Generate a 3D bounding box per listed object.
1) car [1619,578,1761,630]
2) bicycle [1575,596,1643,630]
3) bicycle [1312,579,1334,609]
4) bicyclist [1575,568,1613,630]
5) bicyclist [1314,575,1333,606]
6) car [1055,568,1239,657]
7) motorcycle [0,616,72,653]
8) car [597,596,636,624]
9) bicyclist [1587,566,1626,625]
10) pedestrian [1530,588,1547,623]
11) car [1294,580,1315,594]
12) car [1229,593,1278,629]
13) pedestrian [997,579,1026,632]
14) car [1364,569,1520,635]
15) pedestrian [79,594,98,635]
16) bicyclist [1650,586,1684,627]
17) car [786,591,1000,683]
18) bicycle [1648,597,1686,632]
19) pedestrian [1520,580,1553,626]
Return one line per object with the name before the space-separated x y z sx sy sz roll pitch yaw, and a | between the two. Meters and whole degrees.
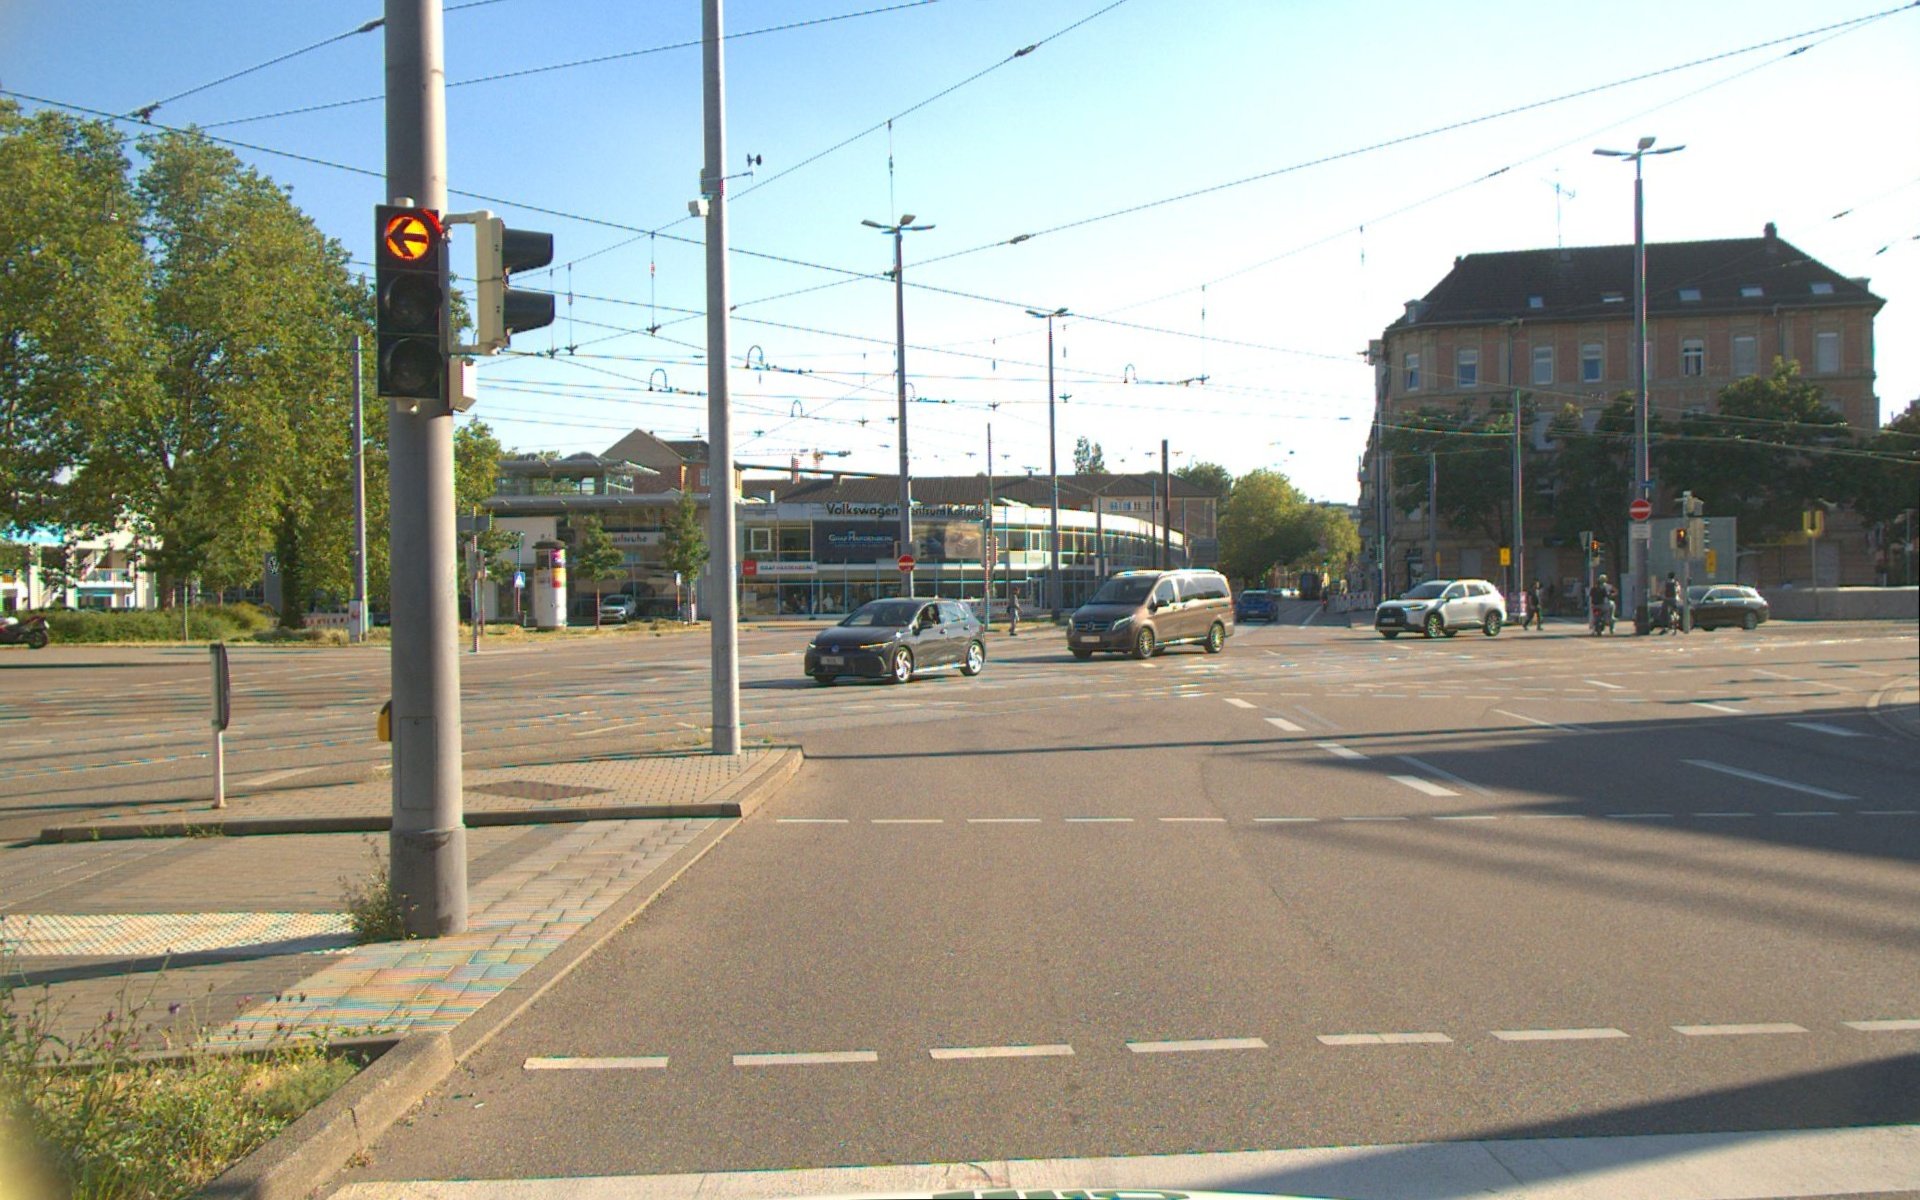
car | 23.925 0.101 54.231 4.288 1.590 1.937 -1 2 -25
bicycle | 19.203 0.370 48.923 2.279 0.921 0.849 -1 2 -38
bicycle | 22.857 -0.400 104.022 1.111 1.719 4.003 1 2 16
bicyclist | 18.560 -0.036 48.442 0.578 1.809 0.856 -1 0 -36
bicyclist | 22.867 -0.617 104.111 1.095 1.933 1.074 1 2 17
car | 4.421 0.257 38.568 1.917 1.926 4.825 -1 0 40
motorcycle | -28.219 1.046 50.054 2.246 1.072 0.685 0 2 -14
car | -20.822 0.584 100.435 1.955 1.561 3.995 0 2 -6
bicyclist | 19.058 -0.140 48.792 0.644 1.720 0.849 -1 2 -37
pedestrian | 22.677 0.203 64.831 0.414 1.363 0.600 -1 0 -1
car | 43.850 -1.681 210.452 1.765 1.684 3.917 0 2 -2
car | 13.882 0.514 78.414 1.906 1.622 4.620 -1 0 6
pedestrian | 1.834 0.184 58.756 0.969 1.848 0.920 0 2 -3
car | 14.139 0.028 48.376 4.800 1.830 1.928 -1 0 -38
pedestrian | -44.264 0.718 84.045 0.576 2.049 0.710 -1 0 -1
bicyclist | 20.891 0.186 48.903 0.839 1.197 0.715 1 2 18
car | -1.122 0.614 29.637 1.911 1.512 4.094 -1 0 31
bicycle | 20.883 0.409 48.894 0.839 0.921 2.305 1 2 19
pedestrian | 21.273 0.109 61.047 0.905 1.705 0.782 -1 0 -1
